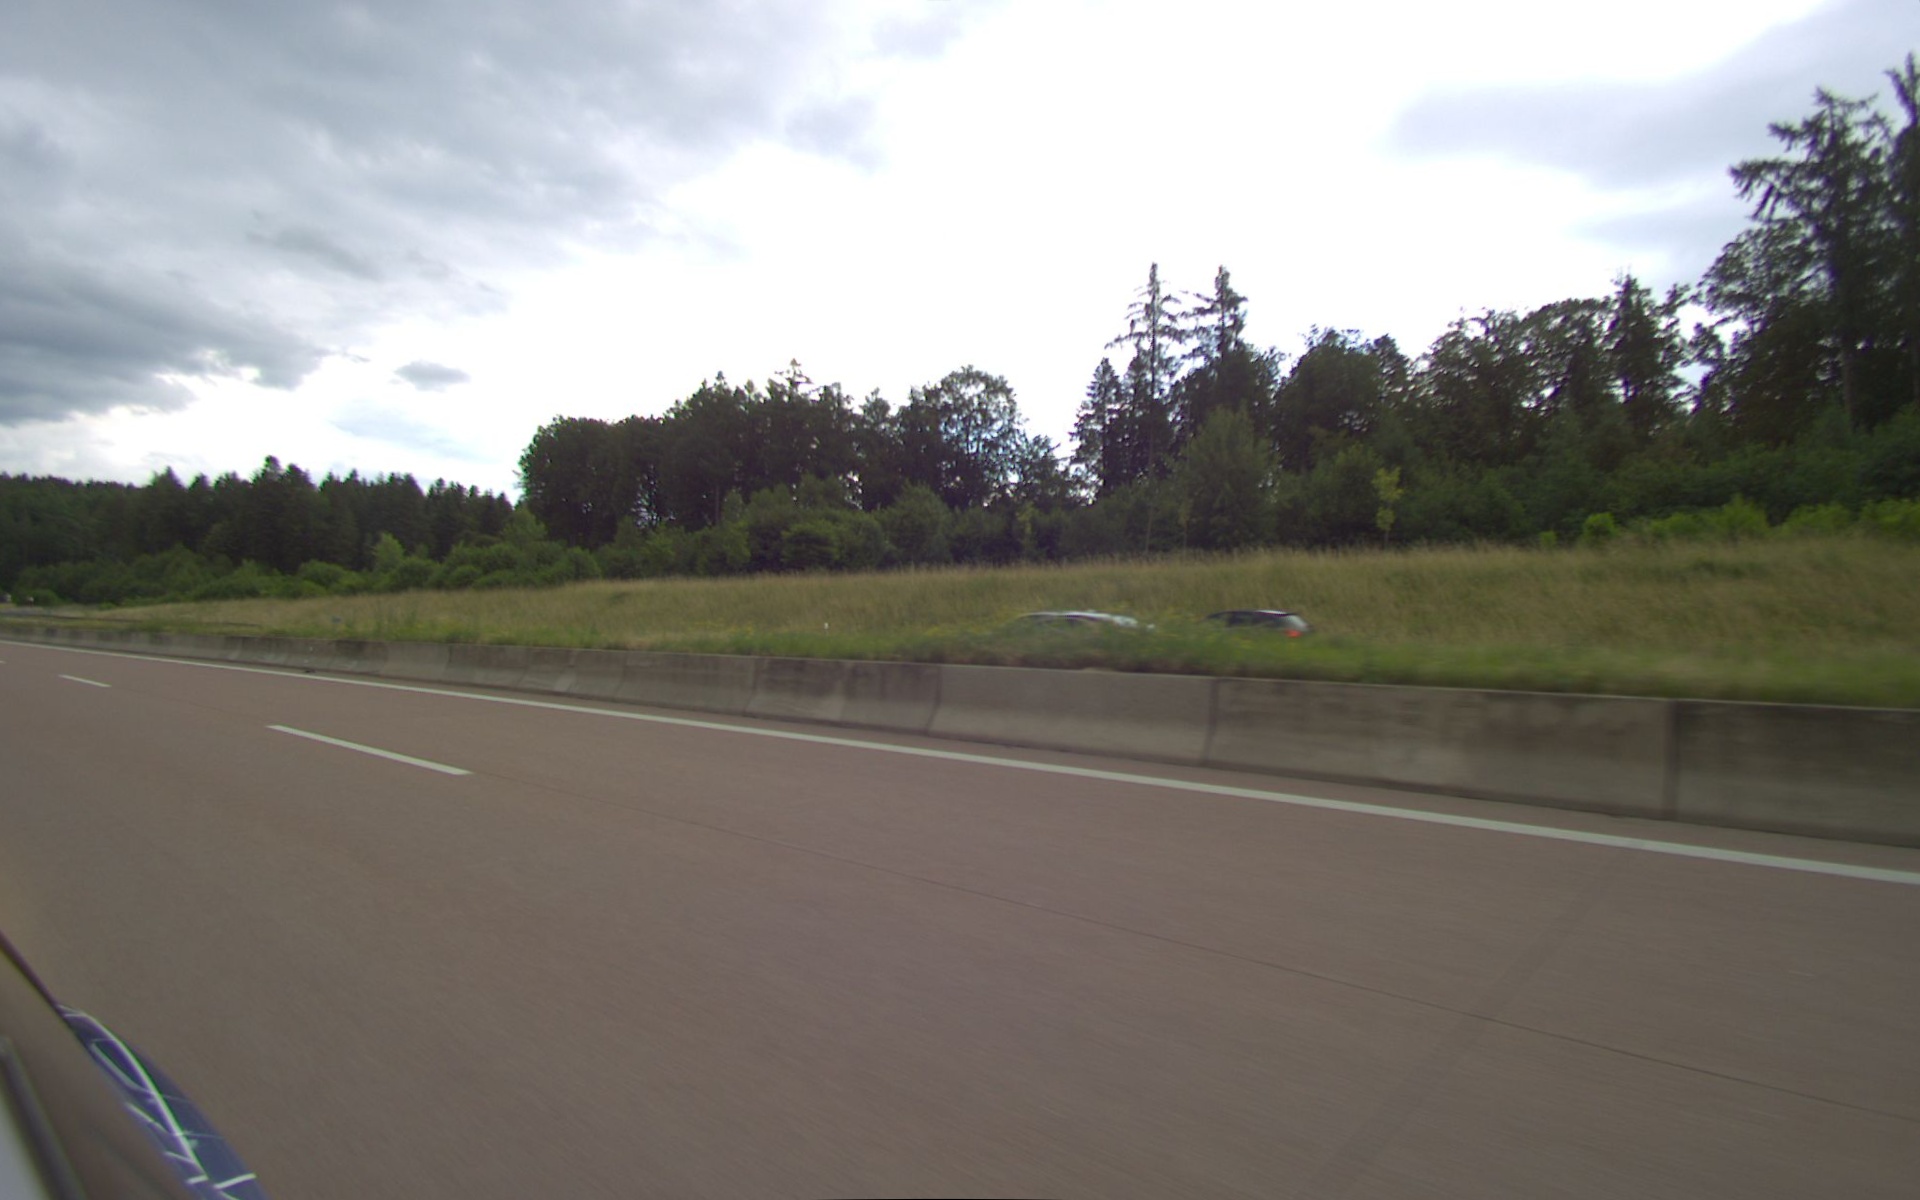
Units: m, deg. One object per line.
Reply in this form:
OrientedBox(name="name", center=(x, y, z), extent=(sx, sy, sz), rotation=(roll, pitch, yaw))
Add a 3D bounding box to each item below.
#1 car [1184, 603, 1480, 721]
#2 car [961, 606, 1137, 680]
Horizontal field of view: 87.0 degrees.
OrientedBox(name="car", center=(5.427, 0.815, 15.017), extent=(3.803, 1.427, 1.579), rotation=(1, 1, 41))
OrientedBox(name="car", center=(1.967, 0.912, 23.010), extent=(3.803, 1.427, 1.579), rotation=(1, 1, 41))
